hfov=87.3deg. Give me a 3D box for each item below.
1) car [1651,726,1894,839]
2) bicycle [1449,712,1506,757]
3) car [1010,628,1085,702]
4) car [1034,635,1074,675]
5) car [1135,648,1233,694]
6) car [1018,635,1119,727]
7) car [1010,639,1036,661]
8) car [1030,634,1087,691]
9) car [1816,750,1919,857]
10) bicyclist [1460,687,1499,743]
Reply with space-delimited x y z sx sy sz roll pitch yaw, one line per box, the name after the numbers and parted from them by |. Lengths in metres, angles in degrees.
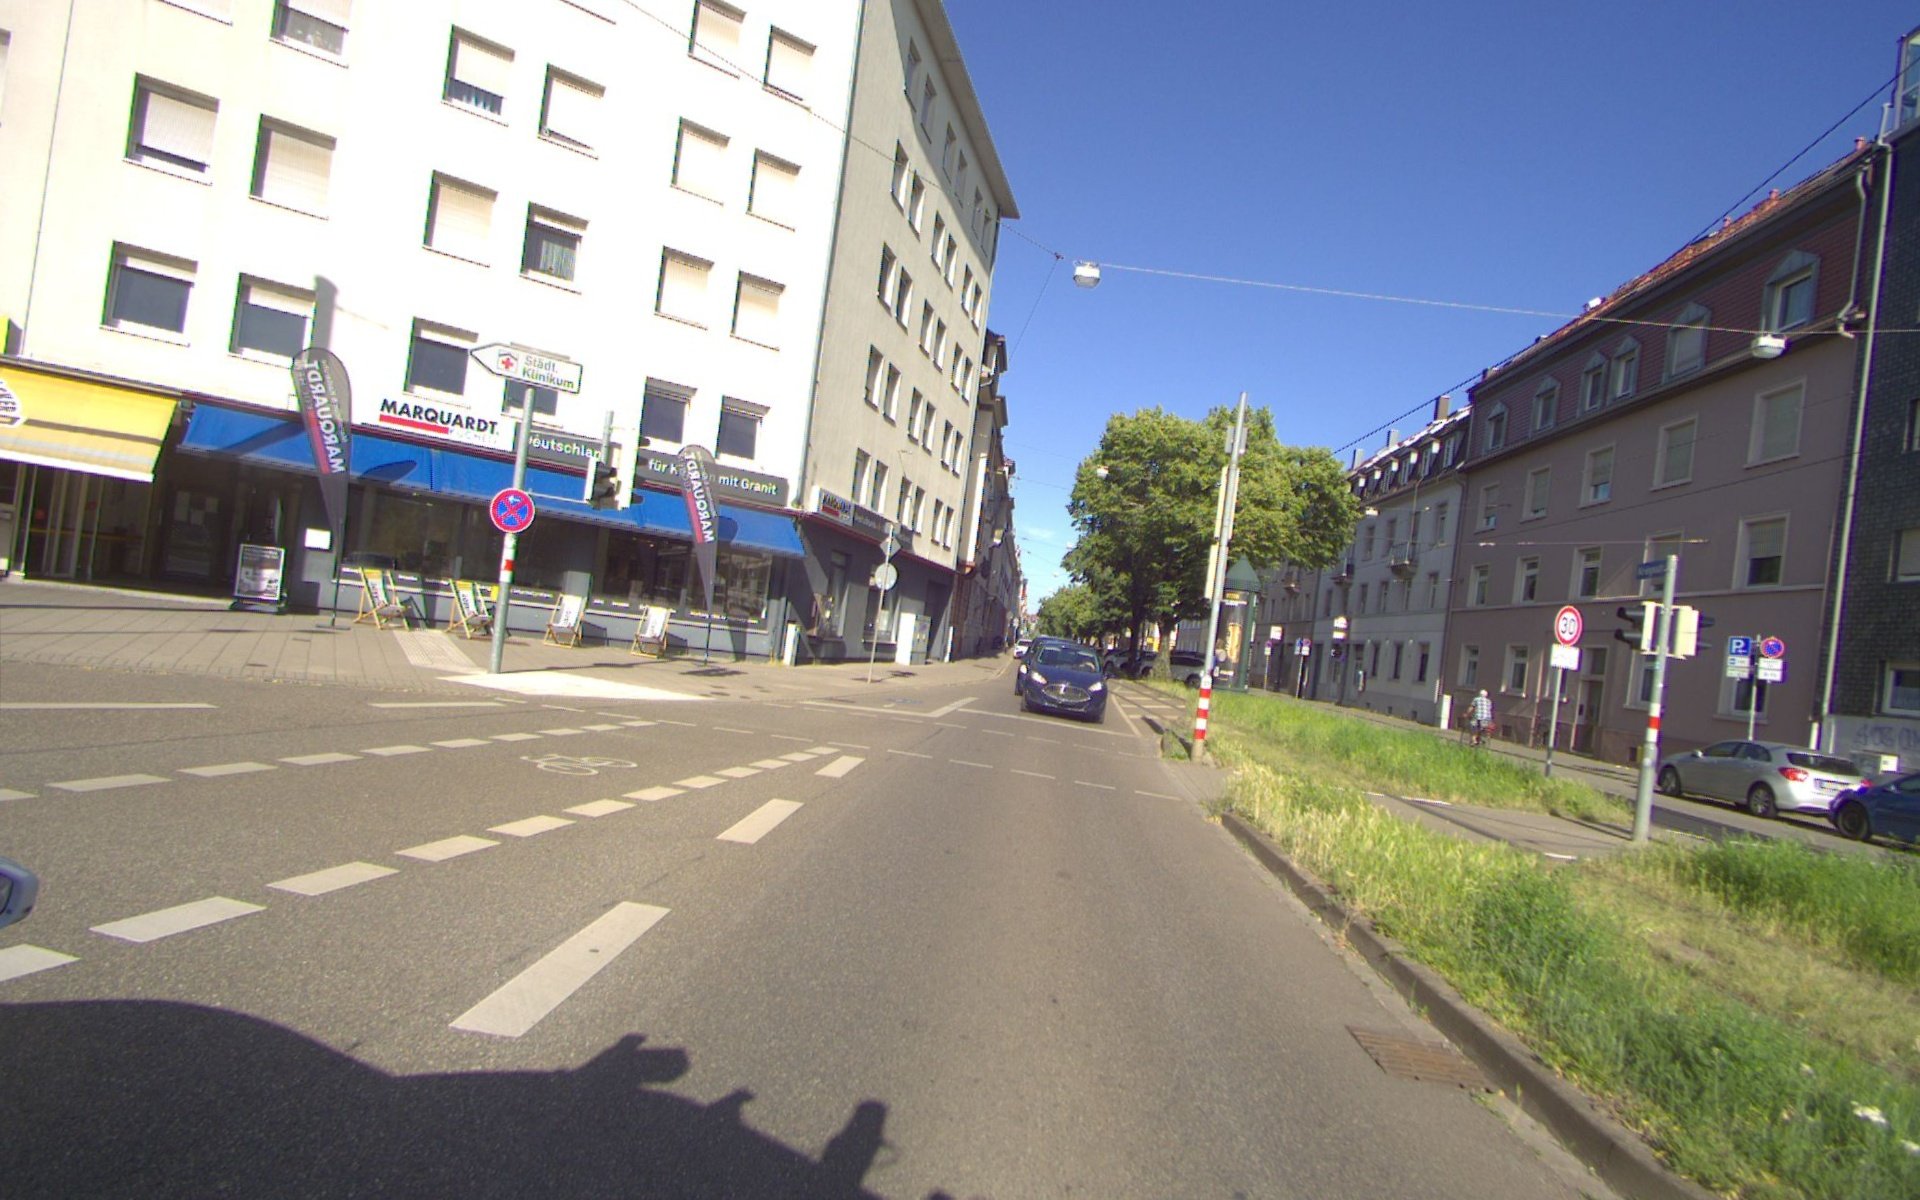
15.991 3.532 20.115 1.657 1.432 4.003 7 -1 4 | car
14.204 3.680 27.670 0.497 0.966 1.998 7 -1 3 | bicycle
2.339 1.677 26.651 1.627 1.599 4.004 7 -1 6 | car
4.382 2.526 46.861 1.627 1.599 3.774 7 -1 6 | car
10.595 3.360 47.734 3.943 1.593 1.992 6 -1 41 | car
2.251 1.612 21.041 1.702 1.470 4.004 9 -1 6 | car
4.650 3.671 73.788 1.627 1.387 3.774 7 -1 6 | car
3.354 2.078 34.260 1.627 1.599 4.004 7 -1 6 | car
15.688 3.360 15.470 1.657 1.432 4.003 7 -1 4 | car
14.271 3.154 27.661 0.500 1.426 0.806 7 0 2 | bicyclist
